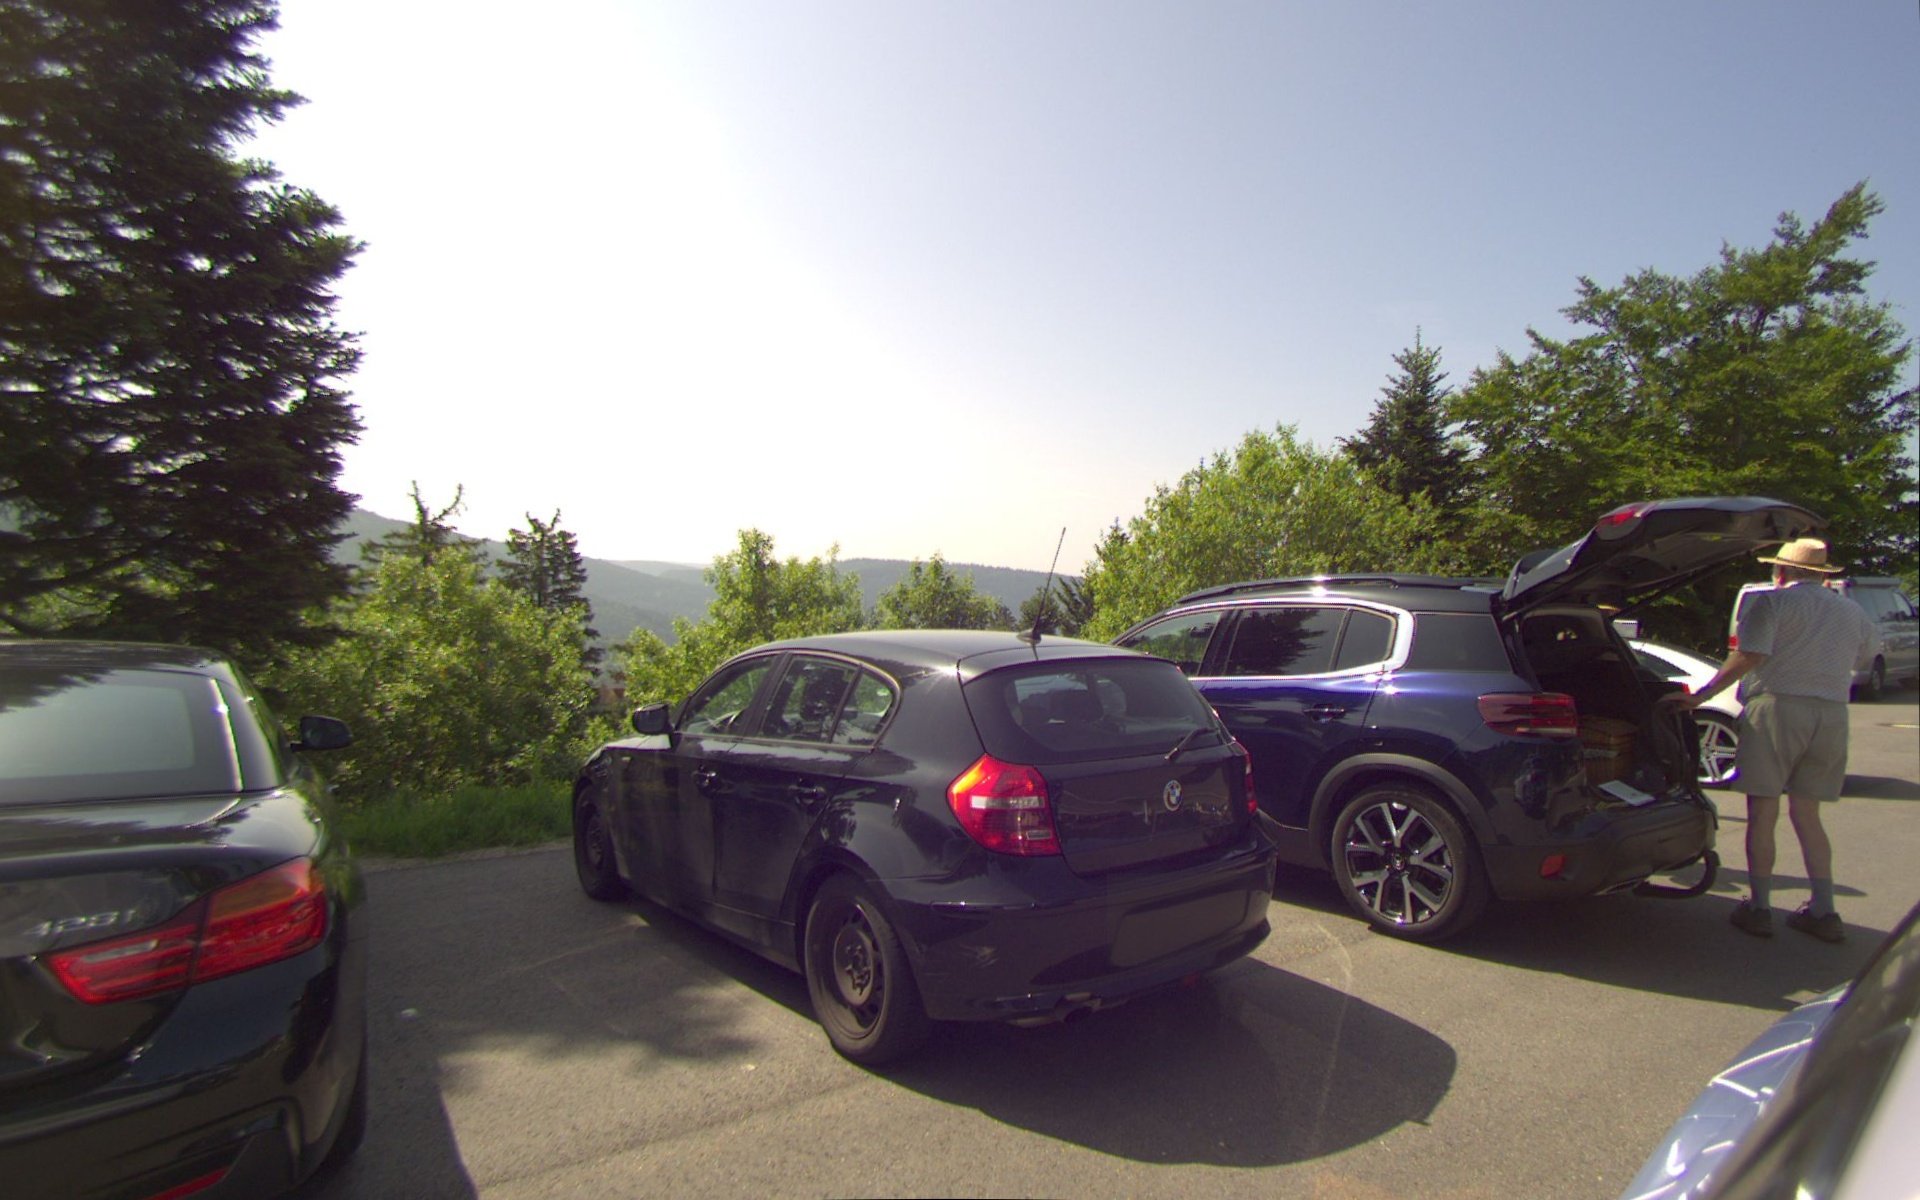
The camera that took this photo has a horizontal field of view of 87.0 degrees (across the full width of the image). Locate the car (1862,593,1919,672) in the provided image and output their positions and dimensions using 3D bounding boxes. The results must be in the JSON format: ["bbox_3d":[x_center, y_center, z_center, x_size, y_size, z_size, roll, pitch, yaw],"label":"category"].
[{"bbox_3d":[20.588,0.636,21.146,3.926,1.567,1.875,0,-1,-38],"label":"car"}]

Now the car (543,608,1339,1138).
[{"bbox_3d":[-0.520,0.767,4.838,1.671,1.394,4.090,0,-1,-38],"label":"car"}]

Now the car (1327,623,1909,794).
[{"bbox_3d":[6.072,0.914,9.860,4.385,1.313,1.732,-2,-2,37],"label":"car"}]

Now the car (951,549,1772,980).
[{"bbox_3d":[1.936,0.694,6.205,1.834,1.647,4.357,-1,-2,-35],"label":"car"}]

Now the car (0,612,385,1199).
[{"bbox_3d":[-2.985,0.761,3.163,1.670,1.394,4.093,0,-1,-35],"label":"car"}]

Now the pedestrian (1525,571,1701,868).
[{"bbox_3d":[3.861,0.654,6.001,0.527,1.633,0.715,-1,-1,-38],"label":"pedestrian"}]

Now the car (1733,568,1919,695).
[{"bbox_3d":[15.541,0.509,17.654,4.520,1.961,1.863,0,-2,-34],"label":"car"}]

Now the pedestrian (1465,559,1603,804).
[{"bbox_3d":[4.581,0.606,8.080,0.736,1.823,0.734,-1,-1,-43],"label":"pedestrian"}]

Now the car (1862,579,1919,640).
[{"bbox_3d":[32.172,0.294,32.529,4.429,1.950,1.853,-2,-1,35],"label":"car"}]

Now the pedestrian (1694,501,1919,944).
[{"bbox_3d":[4.023,0.529,4.790,0.750,1.895,0.731,1,-2,25],"label":"pedestrian"}]
